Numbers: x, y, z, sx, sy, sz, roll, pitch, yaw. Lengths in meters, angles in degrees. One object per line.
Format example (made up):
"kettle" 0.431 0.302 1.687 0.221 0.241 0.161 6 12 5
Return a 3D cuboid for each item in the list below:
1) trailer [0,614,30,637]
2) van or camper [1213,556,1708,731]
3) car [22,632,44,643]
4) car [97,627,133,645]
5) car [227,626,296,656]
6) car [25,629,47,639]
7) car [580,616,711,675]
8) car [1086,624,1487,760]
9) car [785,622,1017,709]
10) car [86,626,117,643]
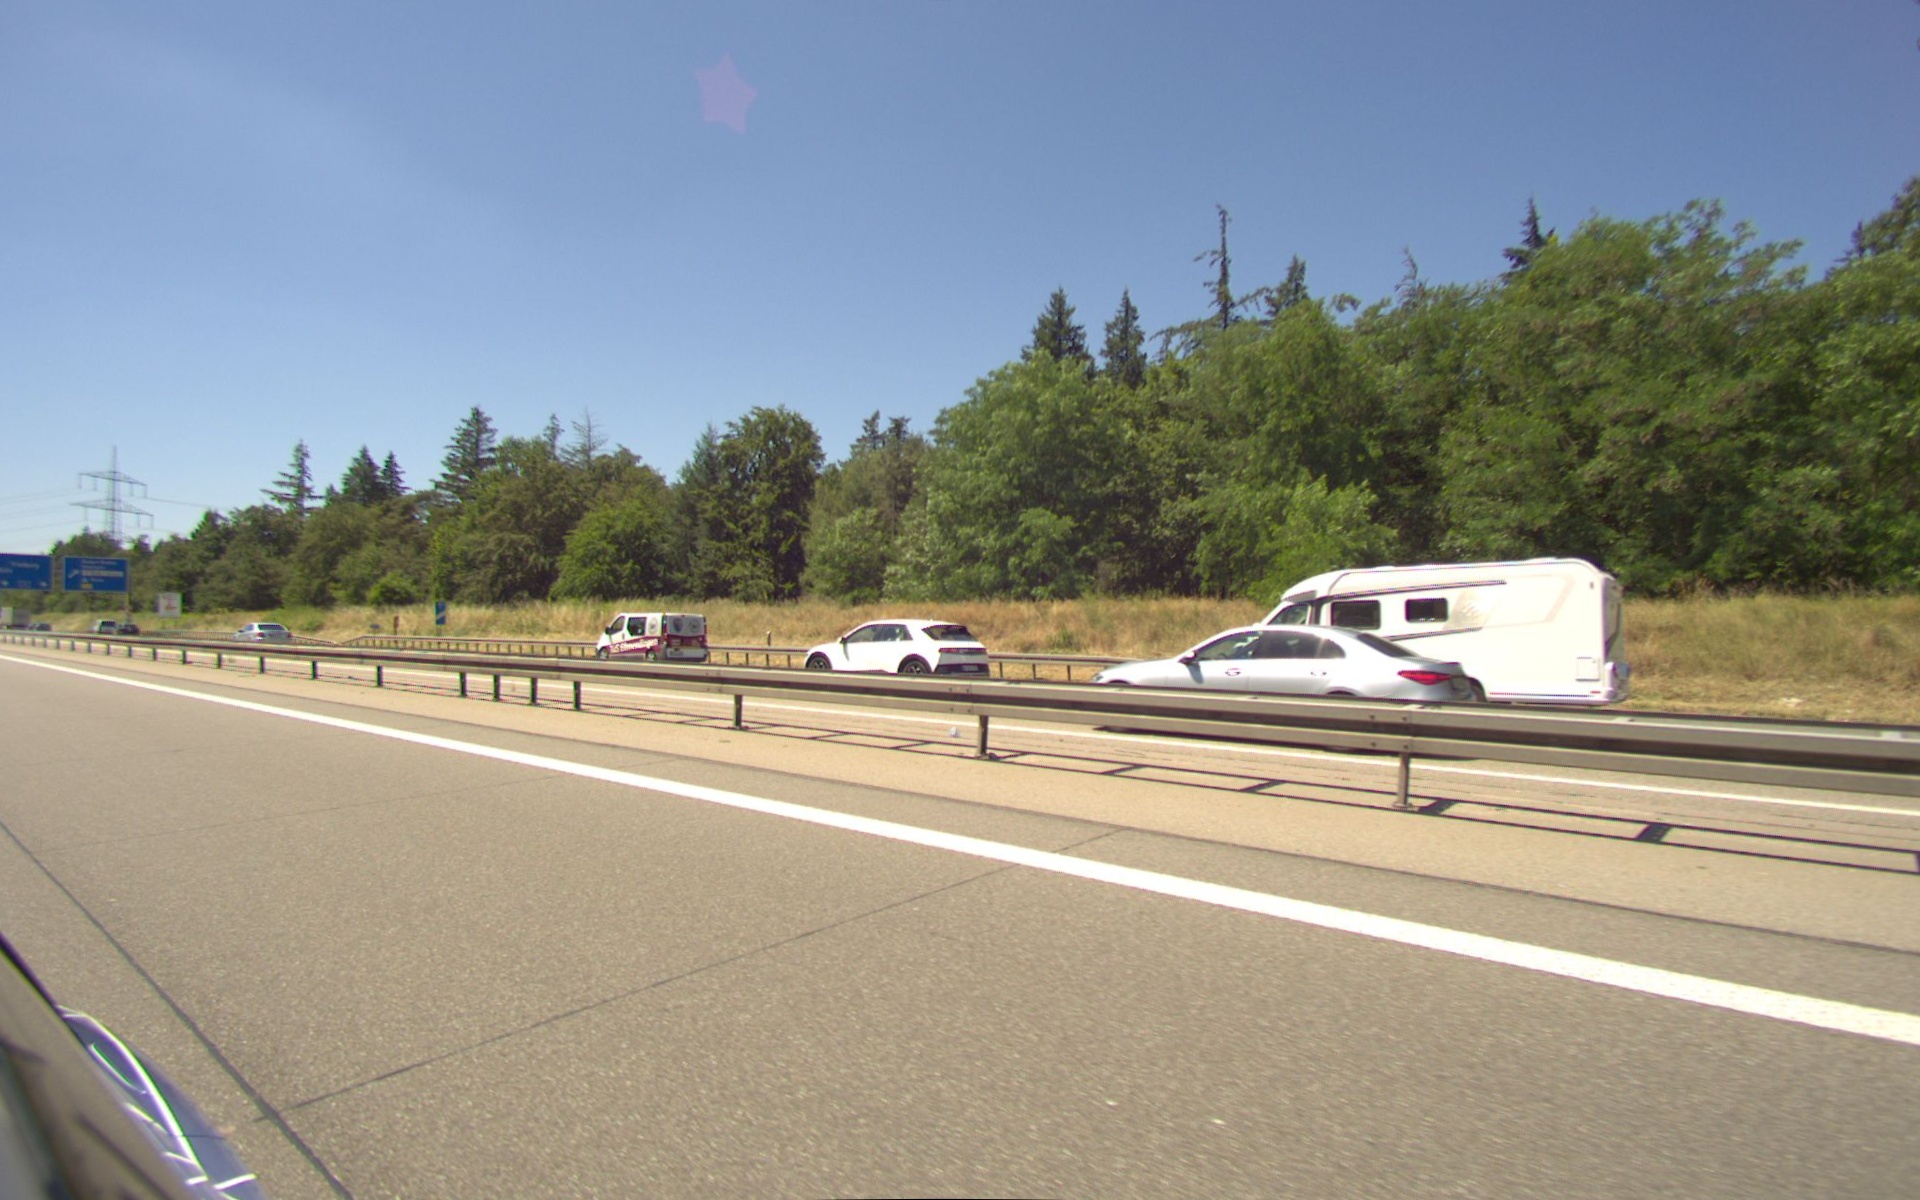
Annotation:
"trailer" -168.804 4.522 180.512 13.963 3.960 3.134 -1 -1 43
"van or camper" 8.745 0.770 18.521 7.766 2.595 2.436 -1 -4 41
"car" -151.298 6.091 165.188 4.941 1.474 2.064 3 0 41
"car" -83.811 3.531 100.359 4.976 1.717 1.973 -1 -4 41
"car" -37.570 2.177 54.399 5.202 1.539 1.832 -1 -3 41
"car" -138.387 5.151 151.578 4.940 1.474 1.907 -2 -2 41
"car" -11.247 1.602 36.027 5.242 1.968 1.973 -1 -4 41
"car" 3.877 1.020 12.460 4.350 1.383 1.817 -1 -4 41
"car" -1.410 1.381 22.345 5.242 1.707 1.973 -1 -4 41
"car" -97.830 3.909 115.330 4.640 1.842 1.973 -1 -4 41
